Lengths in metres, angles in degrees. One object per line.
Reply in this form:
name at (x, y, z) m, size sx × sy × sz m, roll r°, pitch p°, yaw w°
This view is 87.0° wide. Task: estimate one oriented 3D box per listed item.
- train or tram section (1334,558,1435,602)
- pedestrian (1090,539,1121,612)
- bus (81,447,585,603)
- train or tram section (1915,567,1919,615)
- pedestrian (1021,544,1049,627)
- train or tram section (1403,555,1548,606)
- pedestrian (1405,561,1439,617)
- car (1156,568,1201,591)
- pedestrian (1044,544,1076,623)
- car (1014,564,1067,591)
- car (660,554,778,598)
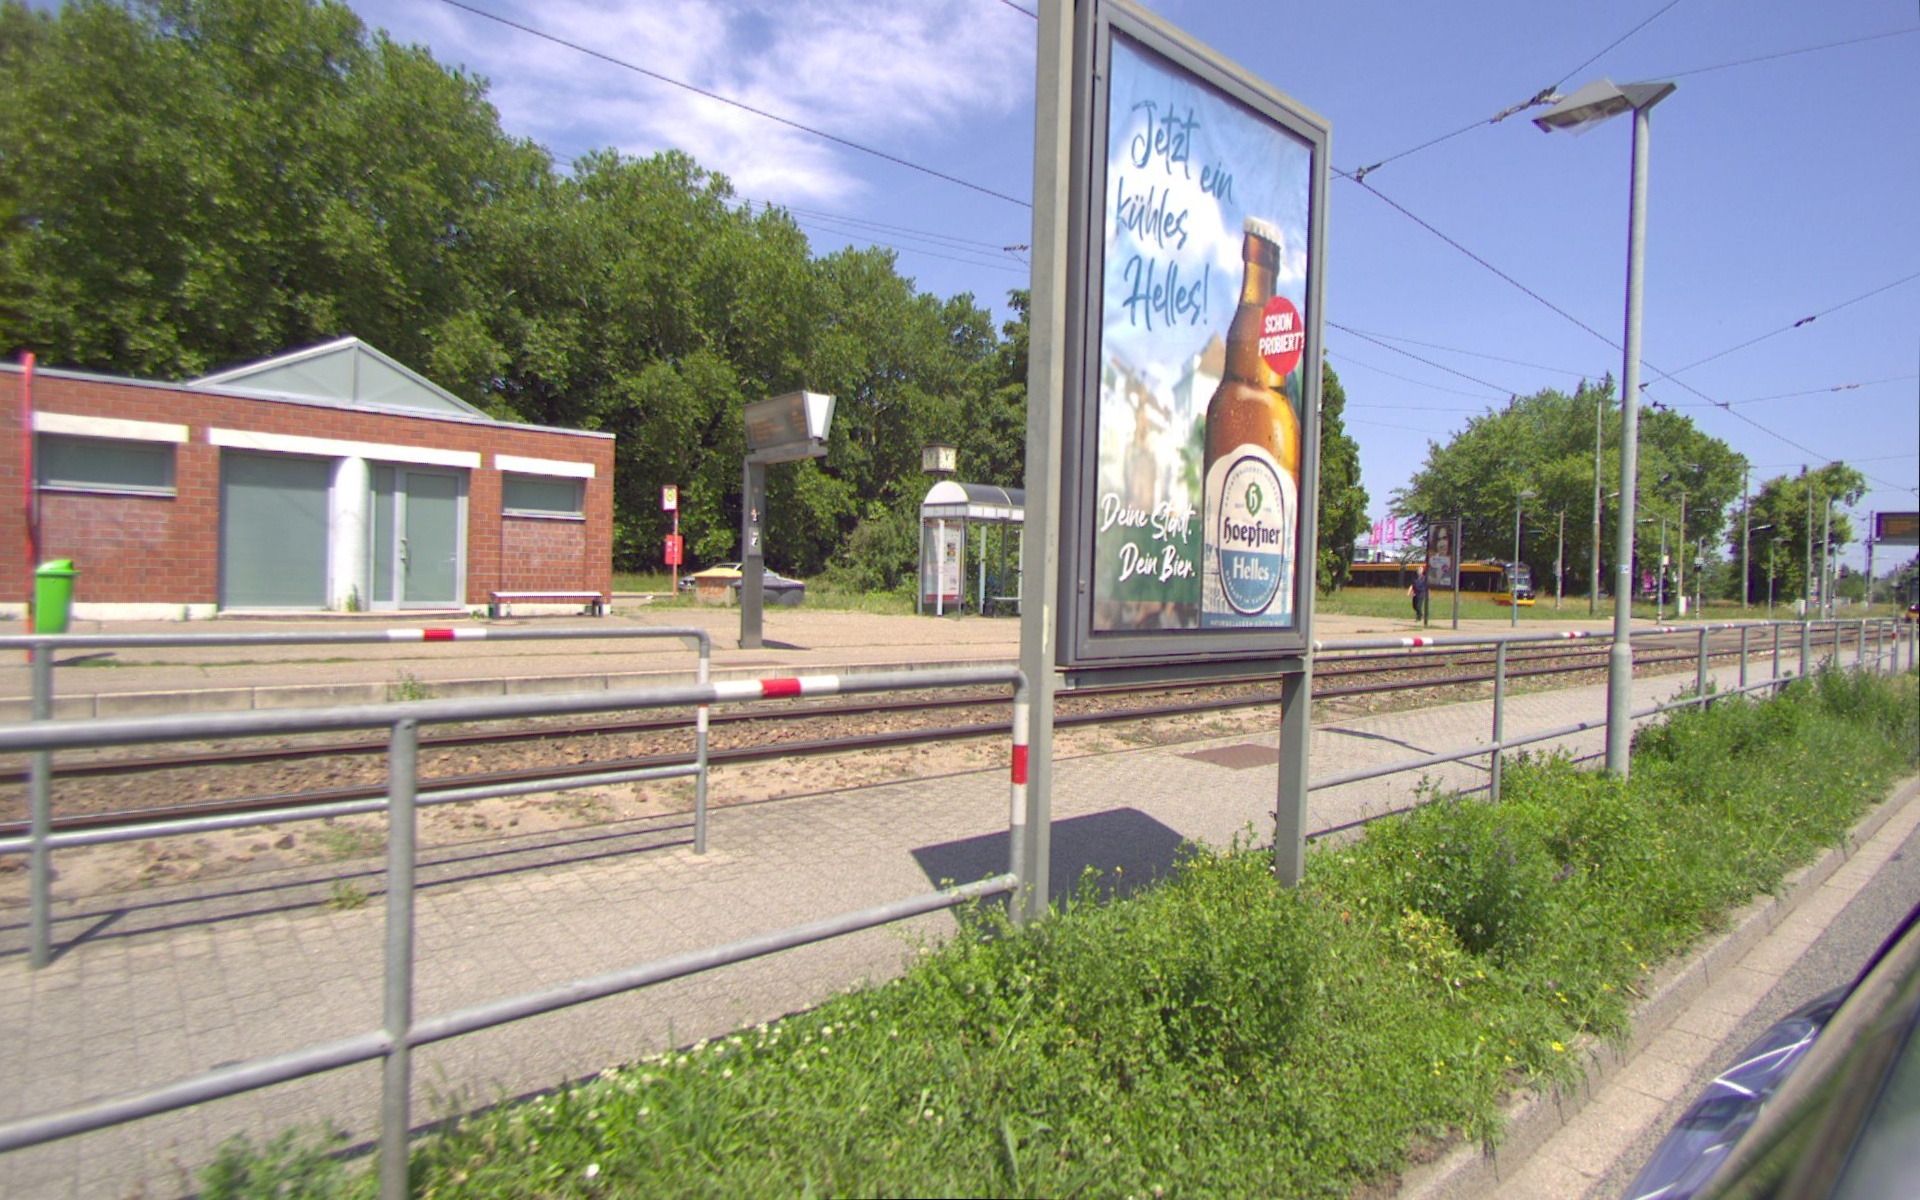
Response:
train or tram section at (38.452, -1.829, 92.385) m, size 2.661 × 3.694 × 13.266 m, roll 0°, pitch 1°, yaw -5°
pedestrian at (3.664, -0.618, 25.526) m, size 0.726 × 1.796 × 0.382 m, roll 0°, pitch 1°, yaw -37°
bus at (-16.586, -1.789, 28.617) m, size 2.746 × 3.481 × 12.312 m, roll 0°, pitch 1°, yaw 30°
train or tram section at (70.836, -0.569, 72.480) m, size 7.129 × 3.363 × 2.525 m, roll 1°, pitch 2°, yaw -39°
pedestrian at (1.517, -0.301, 20.584) m, size 0.437 × 1.667 × 0.361 m, roll 0°, pitch 1°, yaw -37°
train or tram section at (40.096, -1.541, 79.592) m, size 2.659 × 3.695 × 13.210 m, roll 0°, pitch 1°, yaw -10°
pedestrian at (14.949, -0.356, 32.732) m, size 0.645 × 1.786 × 0.708 m, roll 1°, pitch 2°, yaw -38°
car at (14.790, -1.368, 68.315) m, size 1.941 × 1.440 × 3.907 m, roll 3°, pitch 2°, yaw 28°
pedestrian at (2.064, -0.343, 20.873) m, size 0.474 × 1.616 × 0.361 m, roll 1°, pitch 2°, yaw -37°
car at (5.293, -1.478, 66.270) m, size 1.840 × 1.682 × 3.955 m, roll 3°, pitch 2°, yaw 32°
car at (-9.639, -0.959, 40.828) m, size 1.983 × 1.649 × 4.677 m, roll 3°, pitch 2°, yaw 29°
